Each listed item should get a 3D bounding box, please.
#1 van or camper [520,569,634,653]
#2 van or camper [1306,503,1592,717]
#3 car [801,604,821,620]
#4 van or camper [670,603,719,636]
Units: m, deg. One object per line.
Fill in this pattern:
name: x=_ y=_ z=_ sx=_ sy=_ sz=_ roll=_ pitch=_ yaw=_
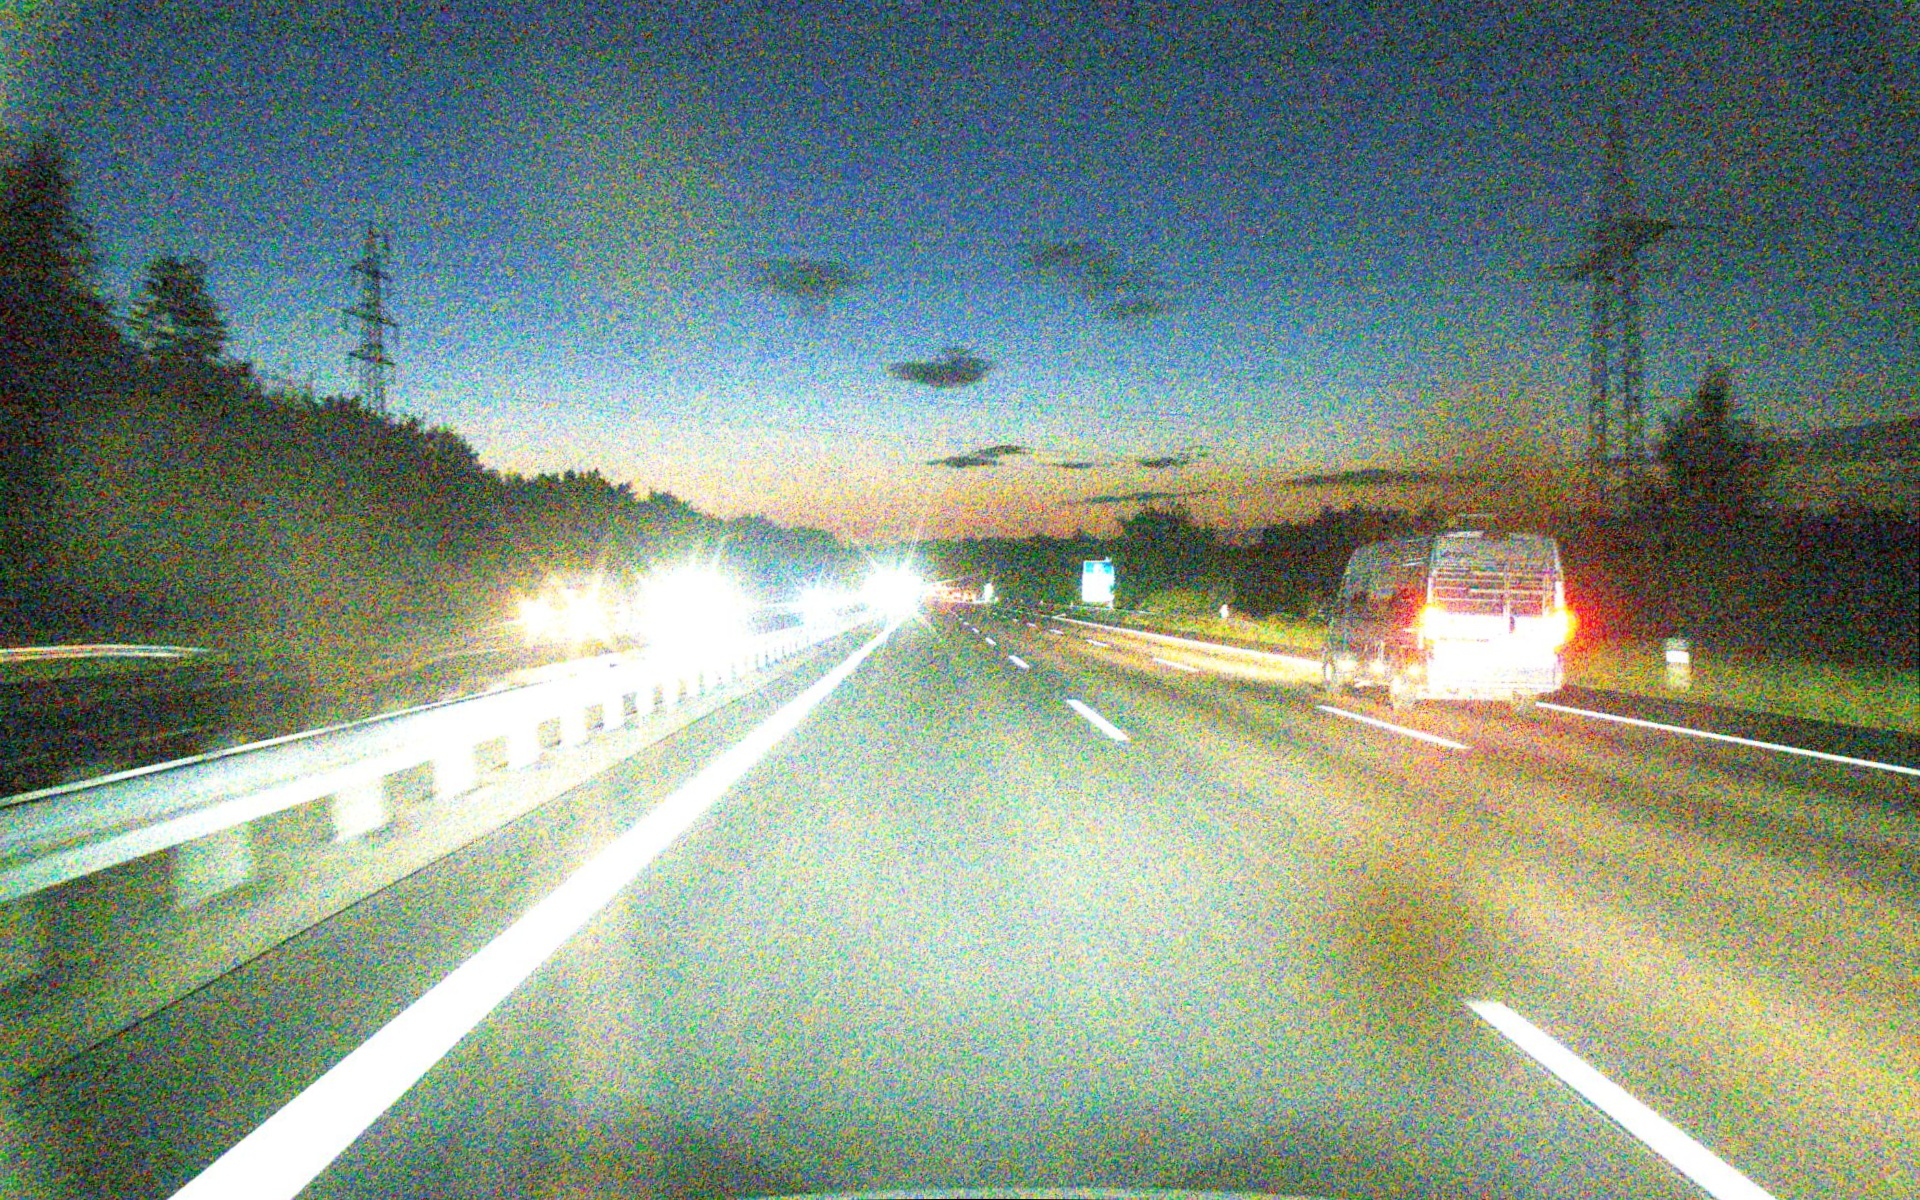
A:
van or camper: x=-13.606 y=0.331 z=59.386 sx=2.282 sy=2.677 sz=7.776 roll=-3 pitch=1 yaw=-1
van or camper: x=7.239 y=0.122 z=25.463 sx=2.162 sy=2.820 sz=6.802 roll=1 pitch=0 yaw=-2
car: x=-16.895 y=1.354 z=187.696 sx=1.953 sy=1.667 sz=5.073 roll=0 pitch=0 yaw=-1
van or camper: x=-13.832 y=0.995 z=86.322 sx=1.744 sy=1.466 sz=5.101 roll=-4 pitch=1 yaw=-1
